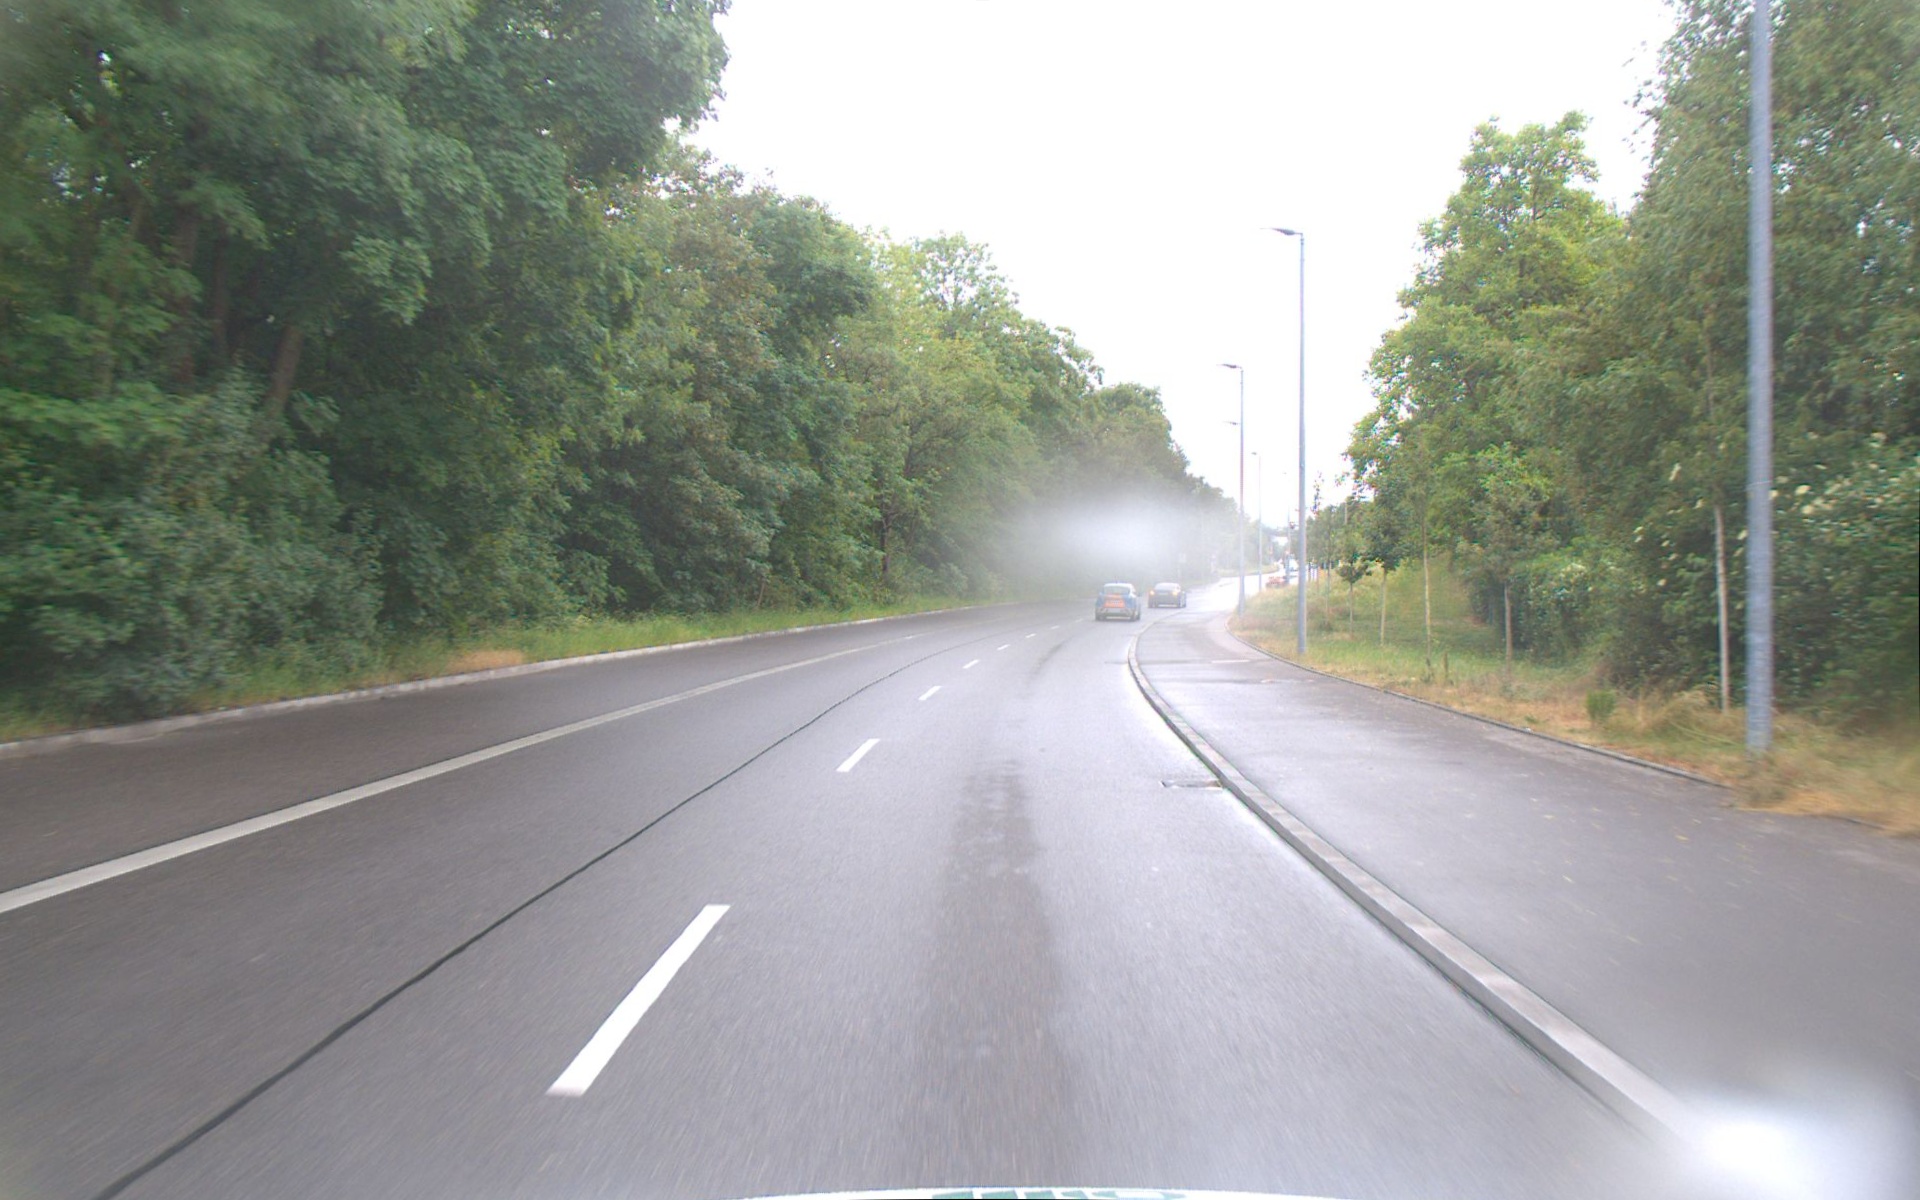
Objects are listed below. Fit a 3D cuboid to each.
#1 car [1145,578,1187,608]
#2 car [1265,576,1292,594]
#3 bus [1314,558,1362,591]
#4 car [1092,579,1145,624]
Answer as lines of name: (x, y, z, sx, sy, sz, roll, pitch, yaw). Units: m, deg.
car: (11.557, -0.424, 92.758, 1.886, 1.512, 3.803, -1, 2, 14)
car: (28.854, -1.373, 149.650, 1.951, 1.579, 4.003, 1, 1, 17)
bus: (38.611, -2.617, 168.875, 2.761, 3.197, 9.172, 1, 1, 26)
car: (6.829, 0.047, 70.920, 1.951, 1.718, 4.004, -1, 2, 10)
